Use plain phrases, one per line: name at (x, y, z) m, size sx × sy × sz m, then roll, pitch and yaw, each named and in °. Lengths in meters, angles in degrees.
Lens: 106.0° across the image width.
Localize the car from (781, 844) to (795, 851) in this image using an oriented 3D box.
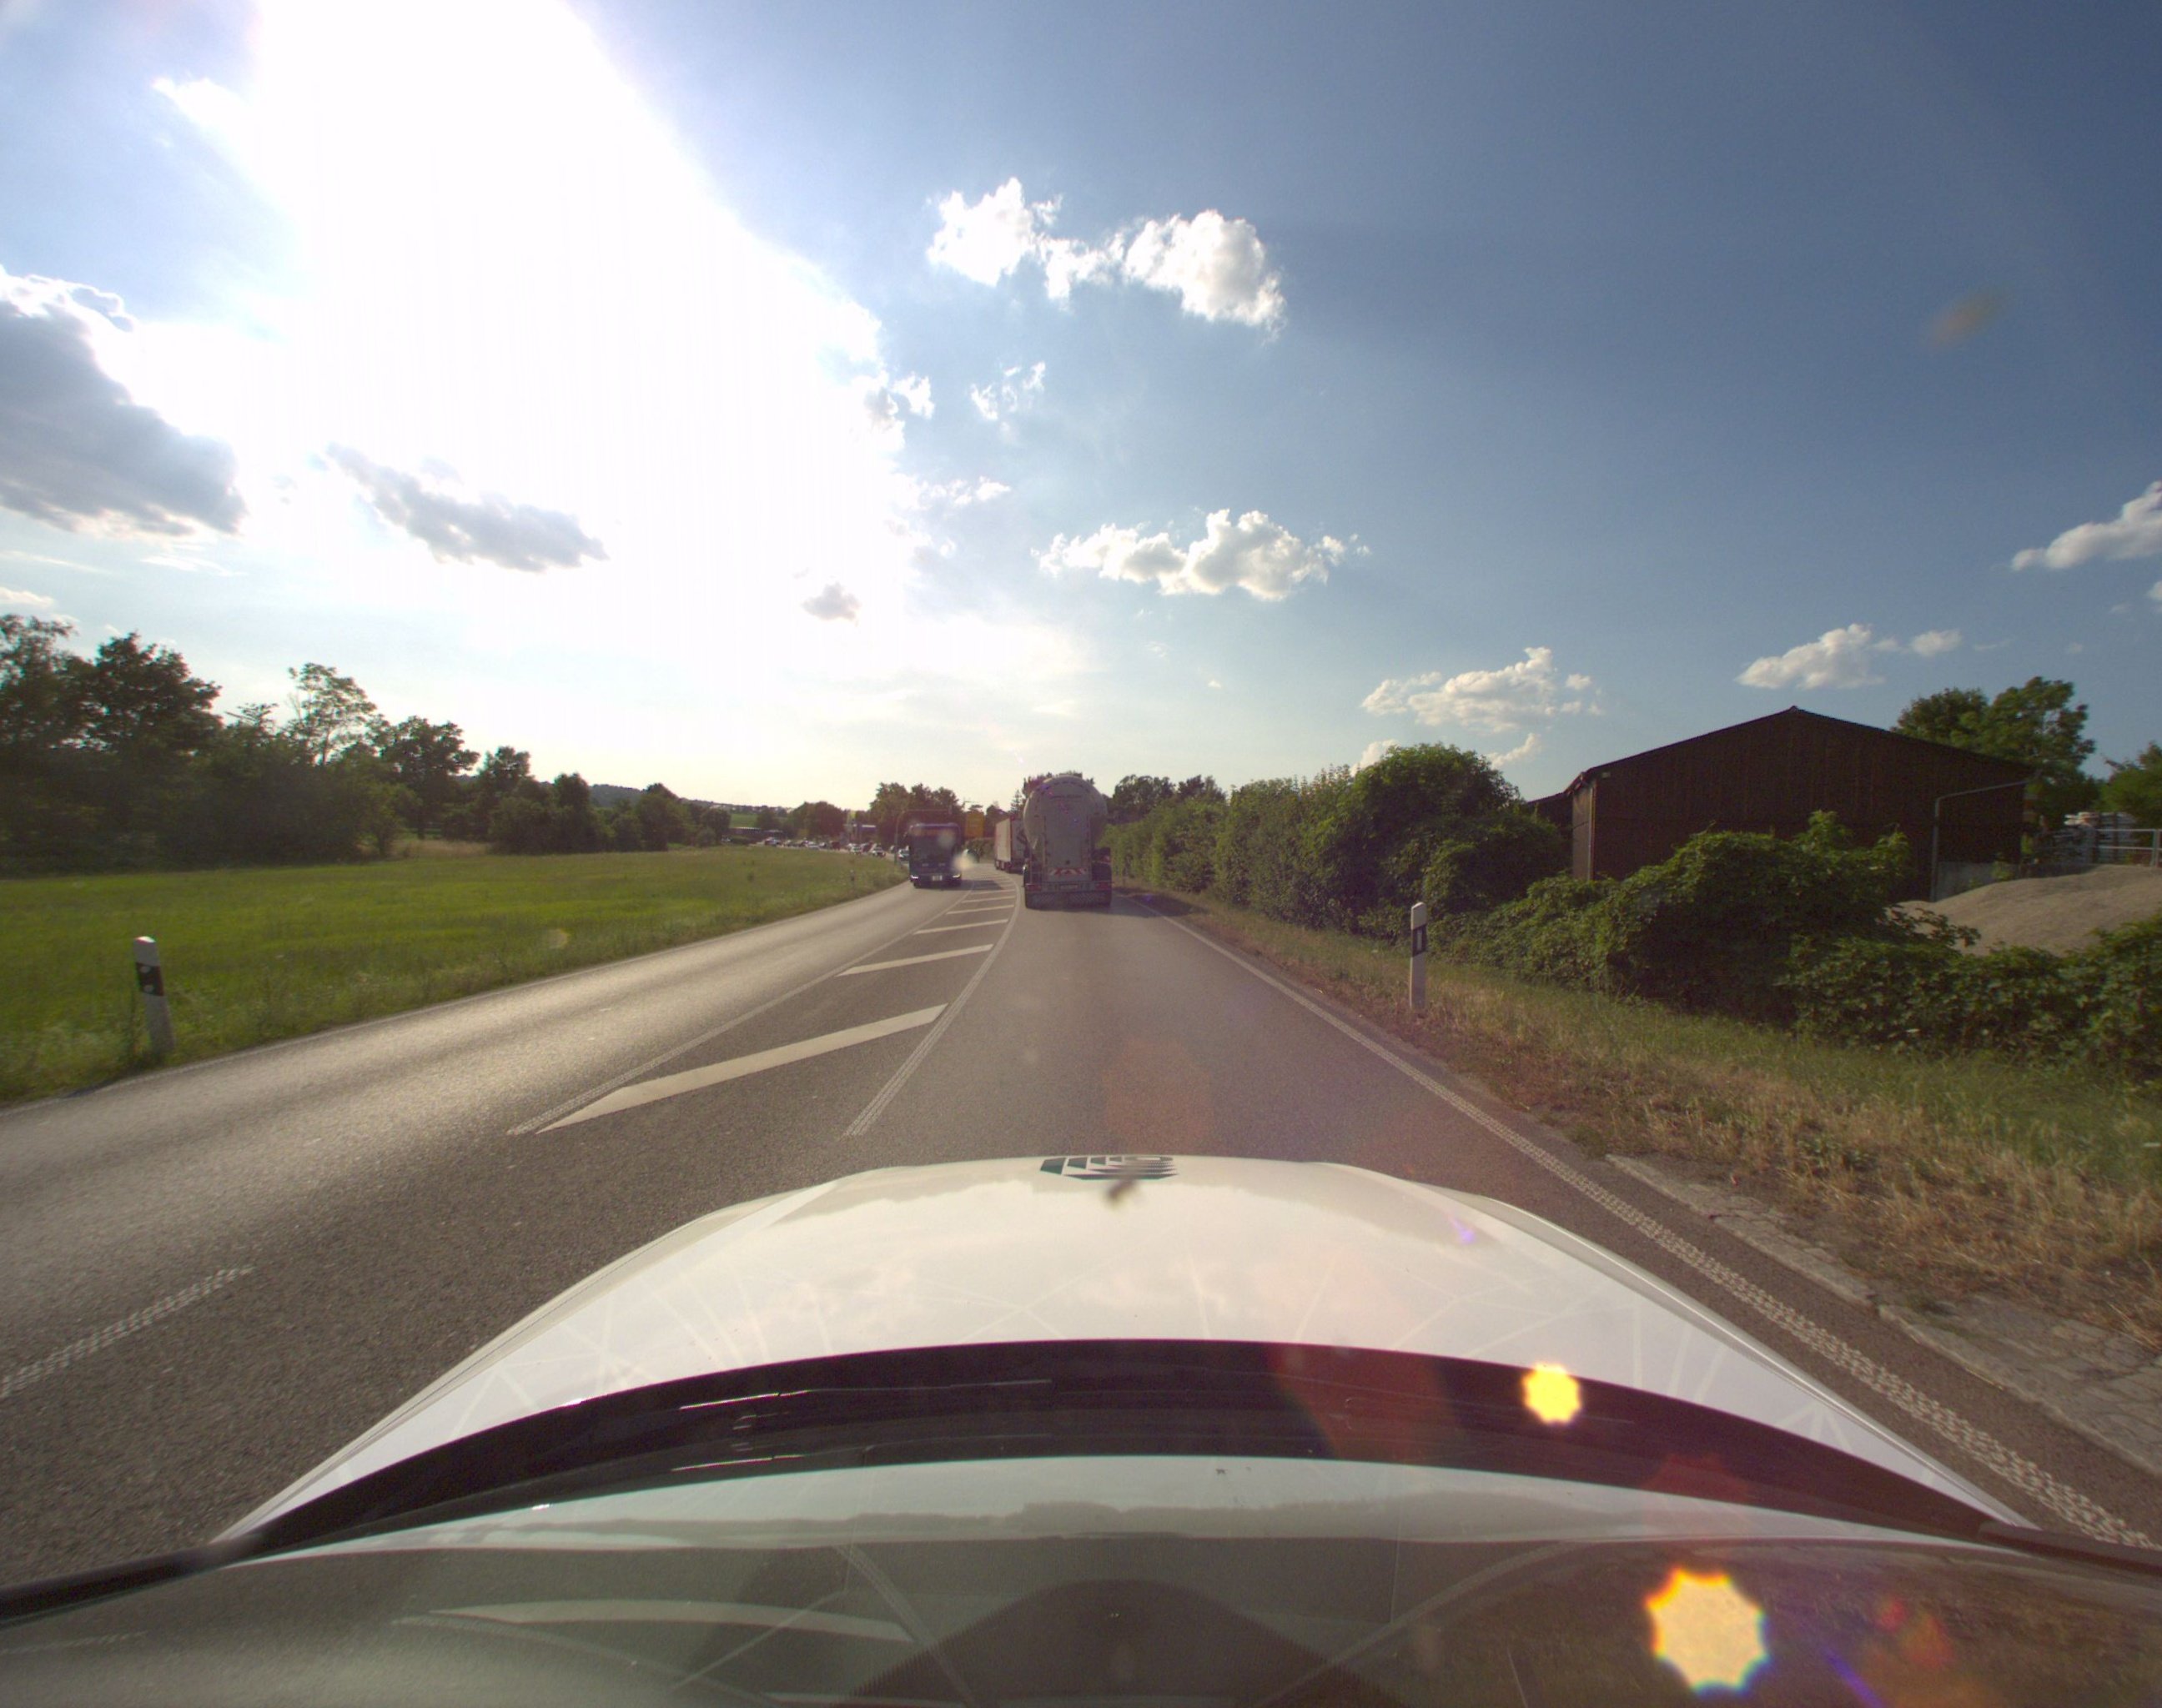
car at (-72.521, -1.630, 201.597) m, size 1.898 × 1.599 × 3.952 m, roll 0°, pitch 0°, yaw -41°

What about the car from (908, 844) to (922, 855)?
car at (-28.043, -0.773, 137.347) m, size 1.846 × 1.656 × 3.975 m, roll 0°, pitch -1°, yaw -18°

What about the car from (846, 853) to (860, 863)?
car at (-38.373, 0.661, 137.137) m, size 1.849 × 1.656 × 3.969 m, roll 0°, pitch -1°, yaw -23°

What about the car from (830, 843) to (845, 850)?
car at (-52.264, -1.611, 174.895) m, size 2.098 × 1.599 × 3.961 m, roll 0°, pitch 0°, yaw -31°

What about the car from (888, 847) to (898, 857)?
car at (-35.151, -0.375, 152.557) m, size 1.523 × 1.656 × 3.849 m, roll 0°, pitch -1°, yaw -18°

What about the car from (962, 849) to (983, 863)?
car at (-12.994, 0.262, 97.512) m, size 1.997 × 1.656 × 3.980 m, roll 0°, pitch -1°, yaw -15°

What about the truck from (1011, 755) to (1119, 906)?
truck at (-0.631, -0.567, 28.301) m, size 2.968 × 4.175 × 11.652 m, roll 0°, pitch -1°, yaw -2°

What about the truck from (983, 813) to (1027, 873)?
truck at (-6.568, -0.854, 69.327) m, size 2.966 × 4.887 × 6.402 m, roll 0°, pitch -1°, yaw -13°

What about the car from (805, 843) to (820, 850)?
car at (-62.868, -1.734, 190.439) m, size 1.898 × 1.599 × 3.952 m, roll 0°, pitch 0°, yaw -41°

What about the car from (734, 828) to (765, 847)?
car at (-89.053, -4.302, 218.855) m, size 3.571 × 5.059 × 13.085 m, roll 0°, pitch 0°, yaw -41°

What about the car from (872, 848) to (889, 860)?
car at (-29.399, -0.066, 119.532) m, size 1.993 × 1.725 × 4.412 m, roll 0°, pitch 1°, yaw -9°

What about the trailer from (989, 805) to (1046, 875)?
trailer at (-5.002, -0.895, 62.241) m, size 2.967 × 4.882 × 10.242 m, roll 0°, pitch -1°, yaw -13°

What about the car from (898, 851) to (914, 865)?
car at (-21.102, 0.507, 98.281) m, size 1.843 × 1.656 × 3.983 m, roll 0°, pitch -1°, yaw -12°

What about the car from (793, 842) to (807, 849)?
car at (-67.334, -2.024, 194.975) m, size 1.898 × 1.599 × 3.952 m, roll 0°, pitch 0°, yaw -41°

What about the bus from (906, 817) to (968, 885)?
bus at (-7.593, -0.058, 44.250) m, size 2.792 × 3.181 × 12.093 m, roll 0°, pitch -1°, yaw -8°

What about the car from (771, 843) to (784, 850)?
car at (-76.989, -1.909, 206.433) m, size 1.898 × 1.599 × 3.952 m, roll 0°, pitch 0°, yaw -41°

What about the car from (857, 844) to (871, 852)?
car at (-42.345, -1.219, 158.832) m, size 1.891 × 1.599 × 3.968 m, roll 0°, pitch 0°, yaw -25°

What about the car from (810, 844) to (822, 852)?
car at (-54.907, -1.198, 168.677) m, size 1.850 × 1.656 × 3.967 m, roll 0°, pitch -1°, yaw -24°

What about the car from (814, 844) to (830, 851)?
car at (-58.980, -1.427, 185.642) m, size 2.103 × 1.599 × 3.952 m, roll 0°, pitch 0°, yaw -41°

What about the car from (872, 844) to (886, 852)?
car at (-40.890, -1.205, 164.982) m, size 2.095 × 1.599 × 3.967 m, roll 0°, pitch 0°, yaw -25°
